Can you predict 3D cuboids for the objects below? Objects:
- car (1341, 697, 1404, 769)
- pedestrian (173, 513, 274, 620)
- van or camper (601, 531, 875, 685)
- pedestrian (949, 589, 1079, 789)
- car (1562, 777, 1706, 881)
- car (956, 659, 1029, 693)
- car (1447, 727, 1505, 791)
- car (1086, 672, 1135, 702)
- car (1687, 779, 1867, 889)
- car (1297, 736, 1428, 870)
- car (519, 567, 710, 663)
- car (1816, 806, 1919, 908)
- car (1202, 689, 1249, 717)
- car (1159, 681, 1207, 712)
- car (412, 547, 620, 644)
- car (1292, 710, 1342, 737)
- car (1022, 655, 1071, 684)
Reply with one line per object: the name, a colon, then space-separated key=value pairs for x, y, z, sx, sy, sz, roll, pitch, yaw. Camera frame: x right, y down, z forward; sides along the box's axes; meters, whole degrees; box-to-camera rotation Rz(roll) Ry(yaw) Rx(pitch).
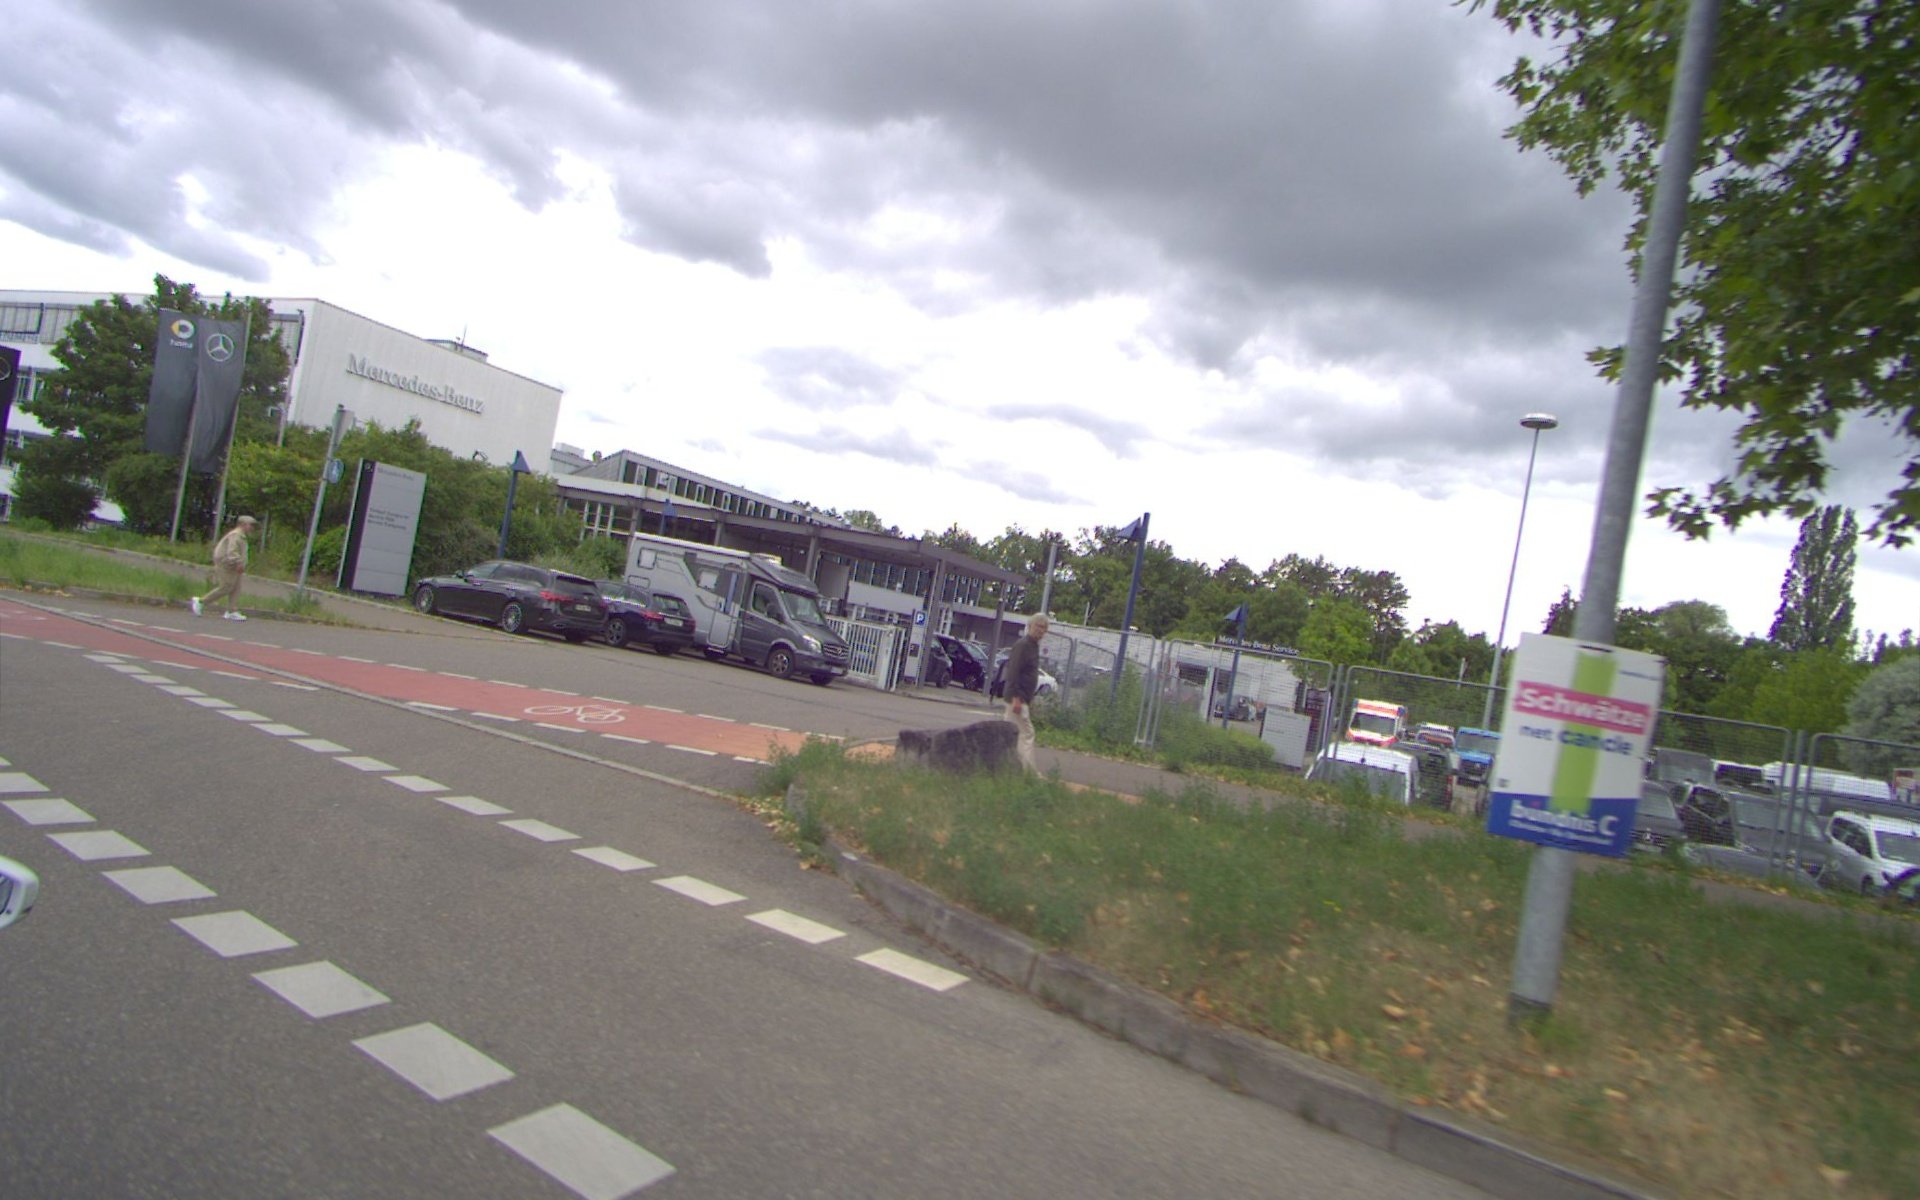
car: x=17.526 y=5.613 z=42.607 sx=1.705 sy=2.596 sz=4.113 roll=8 pitch=-2 yaw=30
pedestrian: x=-11.260 y=-0.492 z=15.406 sx=0.735 sy=1.480 sz=0.792 roll=8 pitch=-1 yaw=11
van or camper: x=-5.731 y=0.144 z=25.569 sx=6.798 sy=2.902 sz=1.971 roll=8 pitch=-1 yaw=27
pedestrian: x=0.525 y=0.865 z=10.020 sx=0.740 sy=1.822 sz=0.857 roll=9 pitch=-1 yaw=-25
car: x=15.441 y=5.188 z=23.285 sx=1.964 sy=1.569 sz=4.002 roll=8 pitch=-2 yaw=25
car: x=1.365 y=3.098 z=40.698 sx=1.388 sy=0.989 sz=3.651 roll=8 pitch=-3 yaw=29
car: x=20.810 y=6.333 z=40.467 sx=1.705 sy=2.136 sz=3.998 roll=8 pitch=-2 yaw=30
car: x=9.821 y=5.684 z=65.440 sx=1.597 sy=1.545 sz=3.646 roll=8 pitch=-3 yaw=34
car: x=17.730 y=5.011 z=22.081 sx=1.964 sy=1.569 sz=4.002 roll=8 pitch=-2 yaw=25
car: x=6.885 y=3.306 z=17.038 sx=1.661 sy=1.636 sz=3.748 roll=8 pitch=-2 yaw=25
car: x=-8.156 y=0.327 z=23.661 sx=4.270 sy=1.524 sz=1.716 roll=8 pitch=-4 yaw=31
car: x=19.997 y=5.492 z=21.304 sx=1.966 sy=1.569 sz=3.998 roll=8 pitch=-3 yaw=30
car: x=16.451 y=6.414 z=62.258 sx=1.597 sy=1.349 sz=3.646 roll=8 pitch=-3 yaw=34
car: x=14.024 y=6.076 z=63.170 sx=1.597 sy=1.560 sz=3.646 roll=8 pitch=-3 yaw=34
car: x=-9.350 y=-0.109 z=21.120 sx=4.270 sy=1.370 sz=1.715 roll=8 pitch=-1 yaw=31
car: x=29.617 y=10.252 z=83.445 sx=3.588 sy=1.590 sz=1.622 roll=8 pitch=-2 yaw=28
car: x=5.944 y=4.745 z=68.525 sx=1.597 sy=1.545 sz=3.646 roll=8 pitch=-3 yaw=34
